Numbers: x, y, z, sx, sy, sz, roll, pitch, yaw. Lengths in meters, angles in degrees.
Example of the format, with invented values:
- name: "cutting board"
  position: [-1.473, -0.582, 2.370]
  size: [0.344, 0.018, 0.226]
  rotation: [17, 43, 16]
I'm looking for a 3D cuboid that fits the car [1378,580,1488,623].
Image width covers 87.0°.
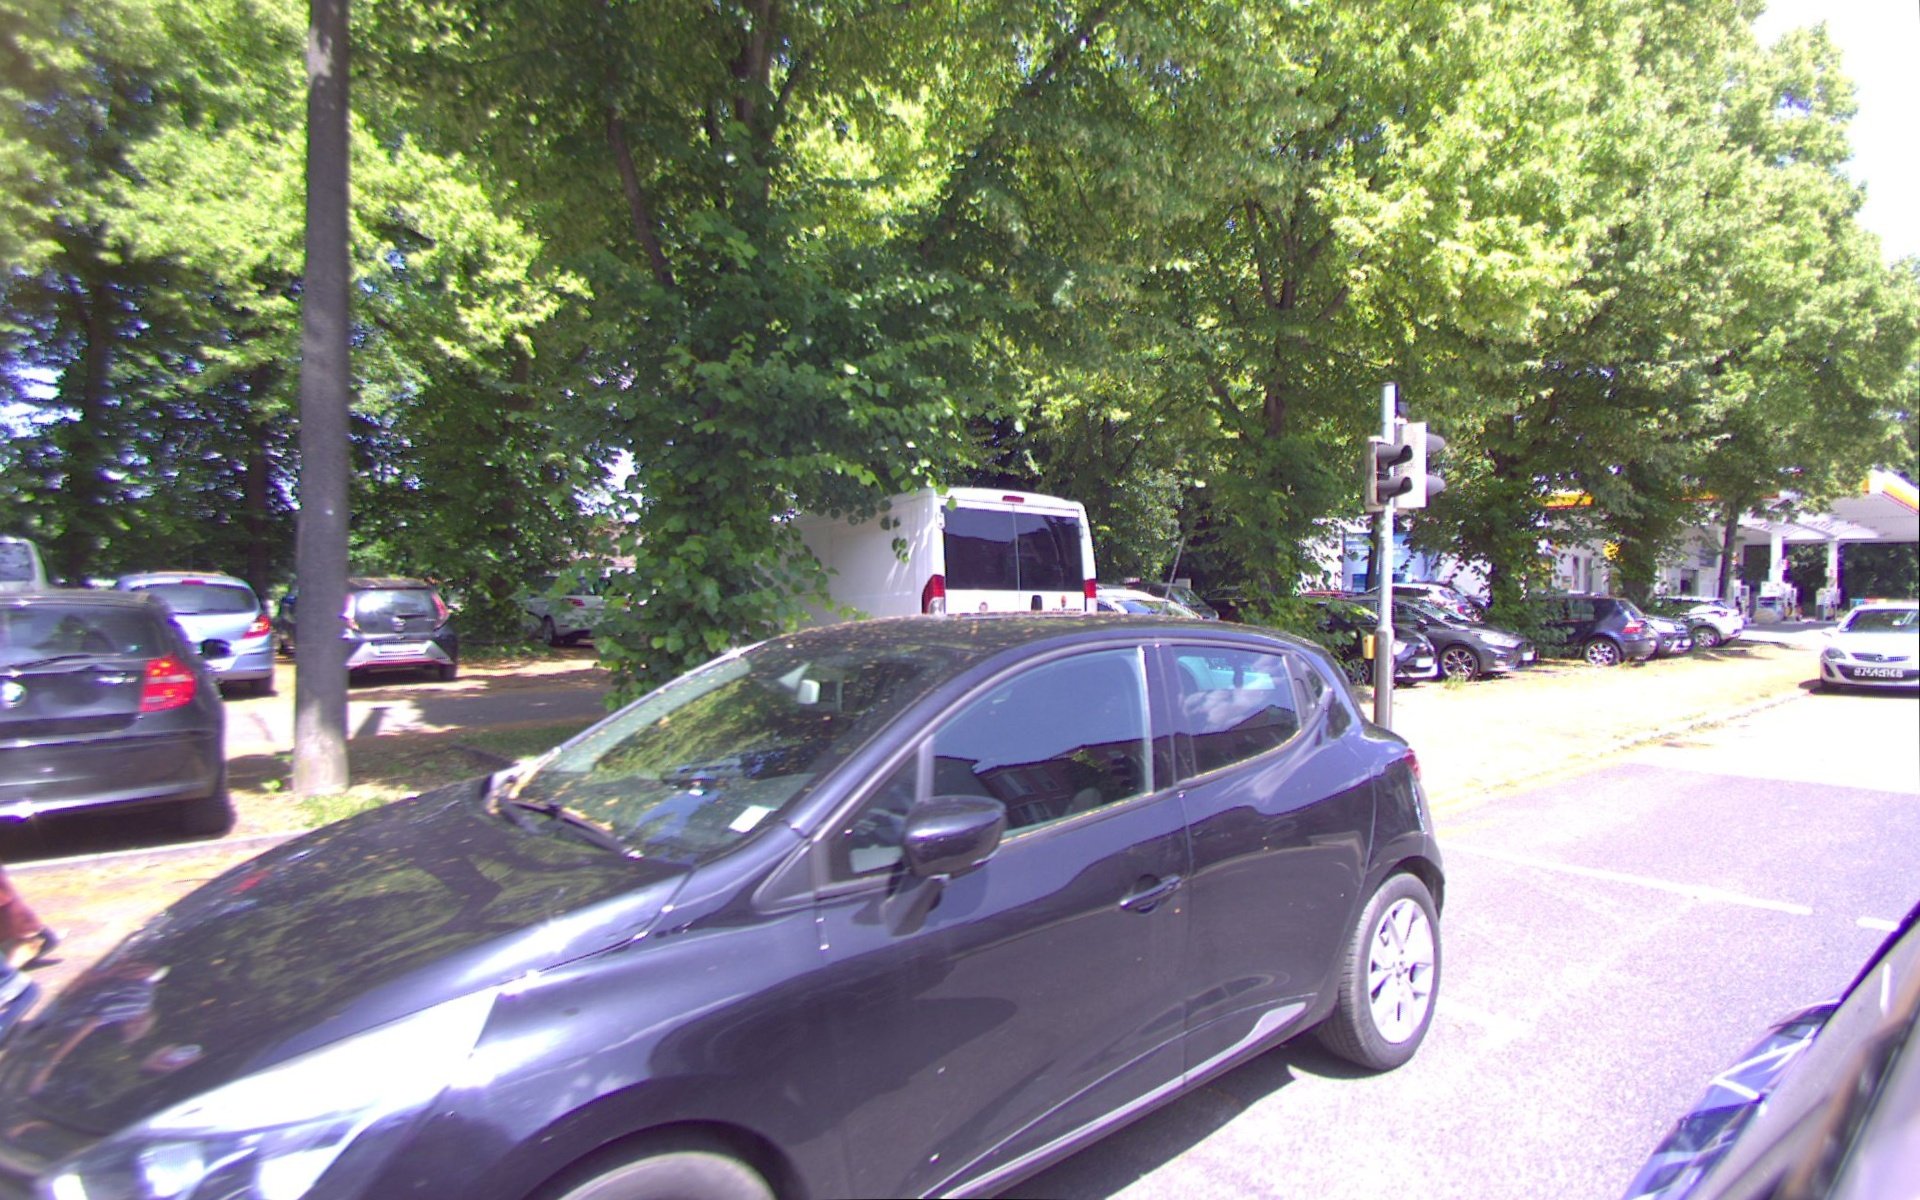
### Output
- name: "car"
  position: [19.781, 0.024, 42.386]
  size: [1.709, 1.637, 3.801]
  rotation: [0, 2, -44]

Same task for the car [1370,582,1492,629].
- name: "car"
  position: [17.657, 0.162, 38.060]
  size: [1.709, 1.637, 3.801]
  rotation: [0, 2, -44]

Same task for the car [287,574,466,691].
- name: "car"
  position: [-8.910, 0.373, 15.299]
  size: [1.772, 1.491, 3.997]
  rotation: [0, 2, -39]

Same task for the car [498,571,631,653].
- name: "car"
  position: [-8.754, 0.200, 22.224]
  size: [1.706, 1.607, 3.808]
  rotation: [0, 1, -38]

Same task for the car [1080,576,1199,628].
- name: "car"
  position: [6.179, 0.035, 35.061]
  size: [1.709, 1.645, 3.801]
  rotation: [0, 2, -44]

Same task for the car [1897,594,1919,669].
- name: "car"
  position: [21.571, 0.643, 21.575]
  size: [4.134, 1.544, 1.866]
  rotation: [0, 0, -40]

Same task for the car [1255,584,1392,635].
- name: "car"
  position: [11.660, 0.259, 32.614]
  size: [1.709, 1.483, 3.801]
  rotation: [0, 2, -44]

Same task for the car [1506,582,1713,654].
- name: "car"
  position: [15.092, 0.383, 23.730]
  size: [1.597, 1.555, 3.773]
  rotation: [0, 0, -29]

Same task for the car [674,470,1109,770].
- name: "car"
  position: [-0.934, 0.193, 10.205]
  size: [2.068, 2.305, 4.610]
  rotation: [0, -1, -40]

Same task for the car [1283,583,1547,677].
- name: "car"
  position: [8.102, 0.482, 18.311]
  size: [1.608, 1.512, 4.073]
  rotation: [0, 0, -42]

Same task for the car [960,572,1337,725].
- name: "car"
  position: [2.094, 0.525, 12.287]
  size: [1.778, 1.513, 4.330]
  rotation: [0, -1, -42]

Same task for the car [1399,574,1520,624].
- name: "car"
  position: [21.690, -0.085, 44.070]
  size: [1.825, 2.022, 4.366]
  rotation: [0, 2, -44]

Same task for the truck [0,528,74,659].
- name: "truck"
  position: [-14.978, -0.134, 15.509]
  size: [1.844, 1.837, 4.132]
  rotation: [0, 1, -38]

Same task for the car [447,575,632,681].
- name: "car"
  position: [-6.977, 0.355, 16.577]
  size: [1.772, 1.491, 3.997]
  rotation: [0, 2, -39]

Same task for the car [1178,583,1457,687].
- name: "car"
  position: [5.756, 0.538, 16.686]
  size: [1.608, 1.513, 4.073]
  rotation: [0, -1, -42]

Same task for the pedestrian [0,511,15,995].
- name: "pedestrian"
  position: [-3.666, 0.513, 3.377]
  size: [0.724, 1.613, 0.618]
  rotation: [0, 0, -41]

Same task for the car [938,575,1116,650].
- name: "car"
  position: [1.536, 0.228, 24.405]
  size: [1.787, 1.607, 4.259]
  rotation: [0, 2, -41]

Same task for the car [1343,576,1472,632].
- name: "car"
  position: [16.082, 0.091, 36.459]
  size: [1.901, 1.874, 3.801]
  rotation: [0, 2, -44]

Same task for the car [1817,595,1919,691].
- name: "car"
  position: [15.908, 0.653, 16.909]
  size: [4.038, 1.461, 1.720]
  rotation: [0, -1, -40]

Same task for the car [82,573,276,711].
- name: "car"
  position: [-10.191, 0.412, 13.238]
  size: [1.772, 1.491, 3.997]
  rotation: [0, 2, -39]

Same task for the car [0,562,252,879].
- name: "car"
  position: [-5.662, 0.601, 6.422]
  size: [1.686, 1.492, 3.995]
  rotation: [0, -1, -39]

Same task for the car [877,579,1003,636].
- name: "car"
  position: [-0.647, 0.183, 29.234]
  size: [1.706, 1.483, 3.808]
  rotation: [0, 1, -38]

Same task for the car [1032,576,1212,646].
- name: "car"
  position: [4.057, 0.218, 25.805]
  size: [4.252, 1.607, 1.790]
  rotation: [2, 2, 43]

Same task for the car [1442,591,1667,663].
- name: "car"
  position: [12.328, 0.516, 21.122]
  size: [3.833, 1.375, 1.605]
  rotation: [0, 0, 41]

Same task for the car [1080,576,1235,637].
- name: "car"
  position: [5.448, 0.139, 28.235]
  size: [1.710, 1.540, 3.947]
  rotation: [0, 2, -45]

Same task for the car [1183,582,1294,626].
- name: "car"
  position: [10.736, 0.121, 39.175]
  size: [1.710, 1.583, 3.800]
  rotation: [0, 2, -45]

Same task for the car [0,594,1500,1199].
- name: "car"
  position: [-0.124, 0.712, 2.928]
  size: [3.929, 1.446, 1.666]
  rotation: [0, 0, -40]

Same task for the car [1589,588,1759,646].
- name: "car"
  position: [20.650, 0.436, 29.367]
  size: [1.823, 1.546, 3.755]
  rotation: [0, 1, -44]

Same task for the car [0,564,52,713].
- name: "car"
  position: [-12.116, 0.365, 11.993]
  size: [1.772, 1.606, 3.997]
  rotation: [0, 2, -39]

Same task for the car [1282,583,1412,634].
- name: "car"
  position: [13.185, 0.257, 34.603]
  size: [1.710, 1.603, 3.800]
  rotation: [0, 1, -45]
